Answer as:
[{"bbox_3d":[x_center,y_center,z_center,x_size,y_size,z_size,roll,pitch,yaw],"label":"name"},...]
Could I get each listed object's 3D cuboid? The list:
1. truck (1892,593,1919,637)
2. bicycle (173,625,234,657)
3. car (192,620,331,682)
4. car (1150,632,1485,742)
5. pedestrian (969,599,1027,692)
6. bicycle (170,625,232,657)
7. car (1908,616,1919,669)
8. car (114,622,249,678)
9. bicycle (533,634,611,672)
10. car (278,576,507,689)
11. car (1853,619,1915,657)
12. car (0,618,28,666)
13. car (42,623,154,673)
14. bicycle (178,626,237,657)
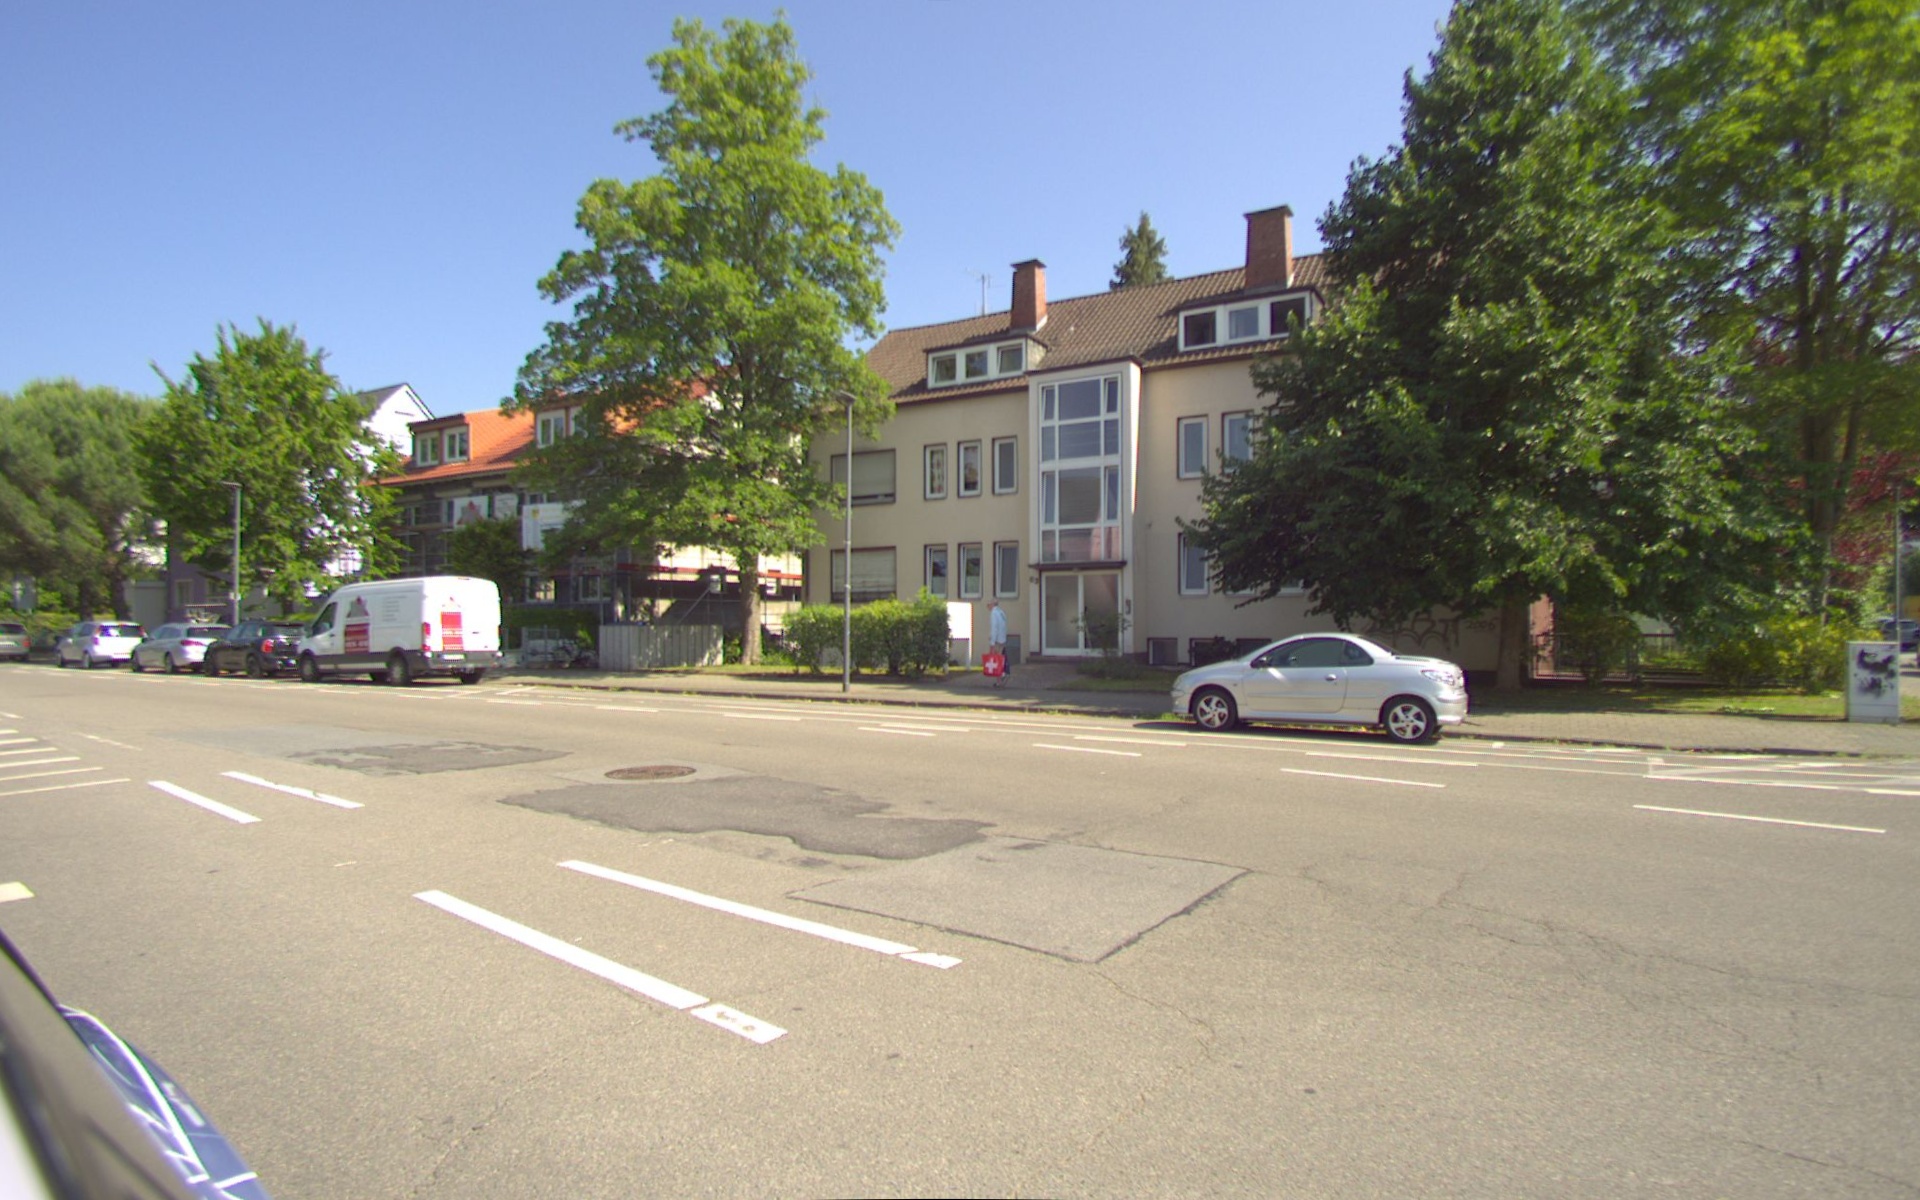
[{"bbox_3d":[61.191,0.946,64.070,2.231,2.616,8.710,-2,-2,37],"label":"truck"},{"bbox_3d":[-34.141,1.864,45.709,0.501,1.394,2.158,-2,-3,28],"label":"bicycle"},{"bbox_3d":[-19.075,1.379,27.616,3.987,1.571,1.707,-2,-3,33],"label":"car"},{"bbox_3d":[4.752,1.093,13.641,3.987,1.276,1.707,-2,-3,33],"label":"car"},{"bbox_3d":[0.757,0.885,20.093,0.724,1.793,0.965,-1,-2,36],"label":"pedestrian"},{"bbox_3d":[-33.829,1.823,45.138,0.501,1.394,2.158,-2,-3,28],"label":"bicycle"},{"bbox_3d":[29.104,1.229,29.452,1.746,1.564,3.748,-2,-2,37],"label":"car"},{"bbox_3d":[-23.239,1.474,30.158,4.657,1.571,1.707,-2,-3,33],"label":"car"},{"bbox_3d":[-11.147,1.501,29.154,0.773,1.008,2.051,-1,-1,33],"label":"bicycle"},{"bbox_3d":[-13.945,0.819,24.776,5.927,2.516,2.075,-1,-3,29],"label":"car"},{"bbox_3d":[44.198,1.808,48.475,1.863,1.719,3.947,-2,-2,39],"label":"car"},{"bbox_3d":[-38.020,1.625,39.029,4.568,1.778,1.827,-2,-3,31],"label":"car"},{"bbox_3d":[-28.552,1.576,33.495,3.987,1.571,1.707,-2,-3,33],"label":"car"},{"bbox_3d":[-34.431,1.891,46.338,0.501,1.394,2.158,-2,-3,28],"label":"bicycle"}]
